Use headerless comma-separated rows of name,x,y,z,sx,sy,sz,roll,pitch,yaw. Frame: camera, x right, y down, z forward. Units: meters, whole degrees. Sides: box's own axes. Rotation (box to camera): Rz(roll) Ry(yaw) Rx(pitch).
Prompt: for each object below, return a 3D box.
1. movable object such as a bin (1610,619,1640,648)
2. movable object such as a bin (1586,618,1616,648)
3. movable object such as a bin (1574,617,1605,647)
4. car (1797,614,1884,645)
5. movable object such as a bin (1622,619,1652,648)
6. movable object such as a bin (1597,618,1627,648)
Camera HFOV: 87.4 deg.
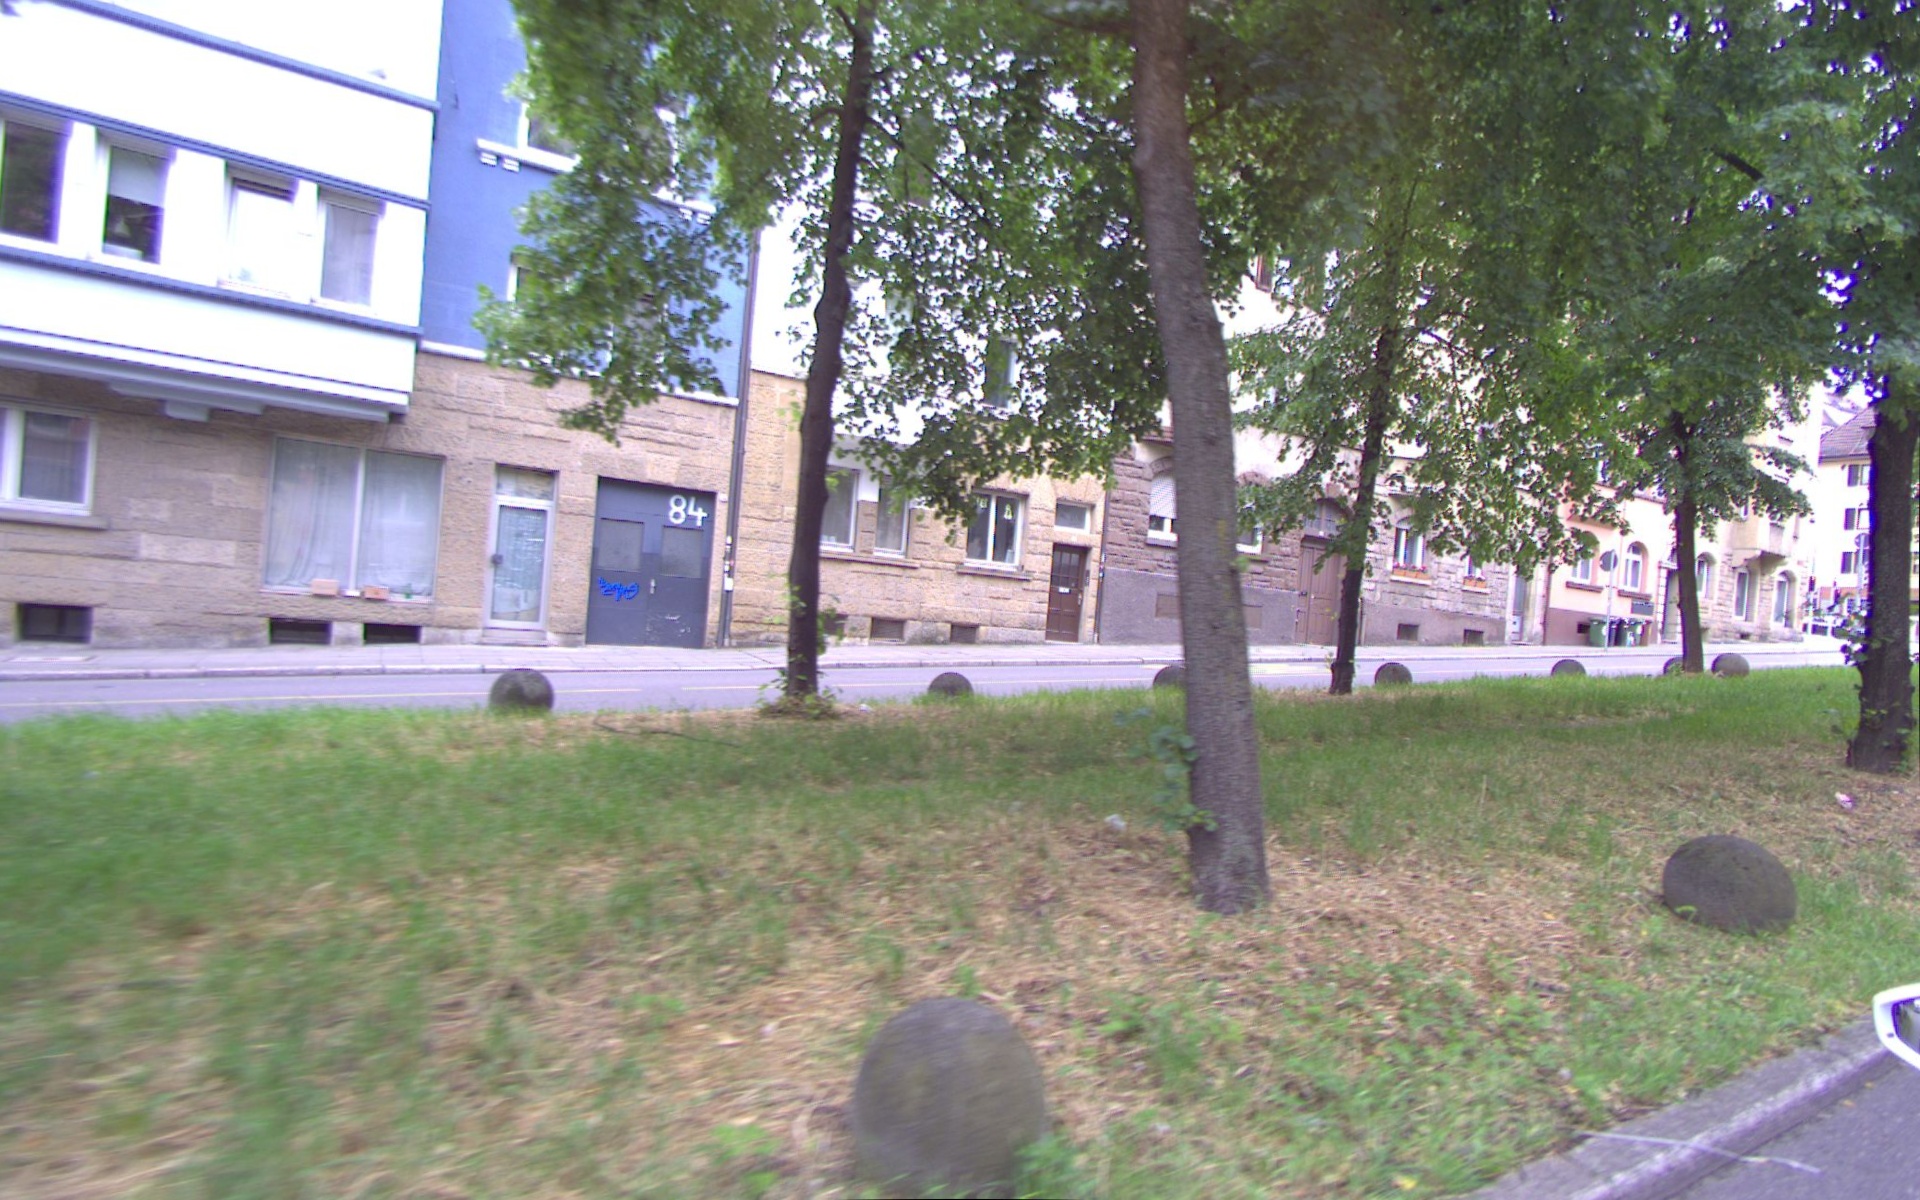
movable object such as a bin,22.036,1.104,33.295,0.595,0.916,0.605,1,2,-34
movable object such as a bin,20.741,1.053,32.511,0.595,0.916,0.605,1,2,-34
movable object such as a bin,20.185,1.032,32.215,0.595,0.916,0.605,1,2,-34
car,53.304,1.730,60.890,1.845,1.687,4.001,3,0,3
movable object such as a bin,22.656,1.131,33.620,0.595,0.916,0.605,1,2,-34
movable object such as a bin,21.326,1.075,32.848,0.595,0.916,0.605,1,2,-34
